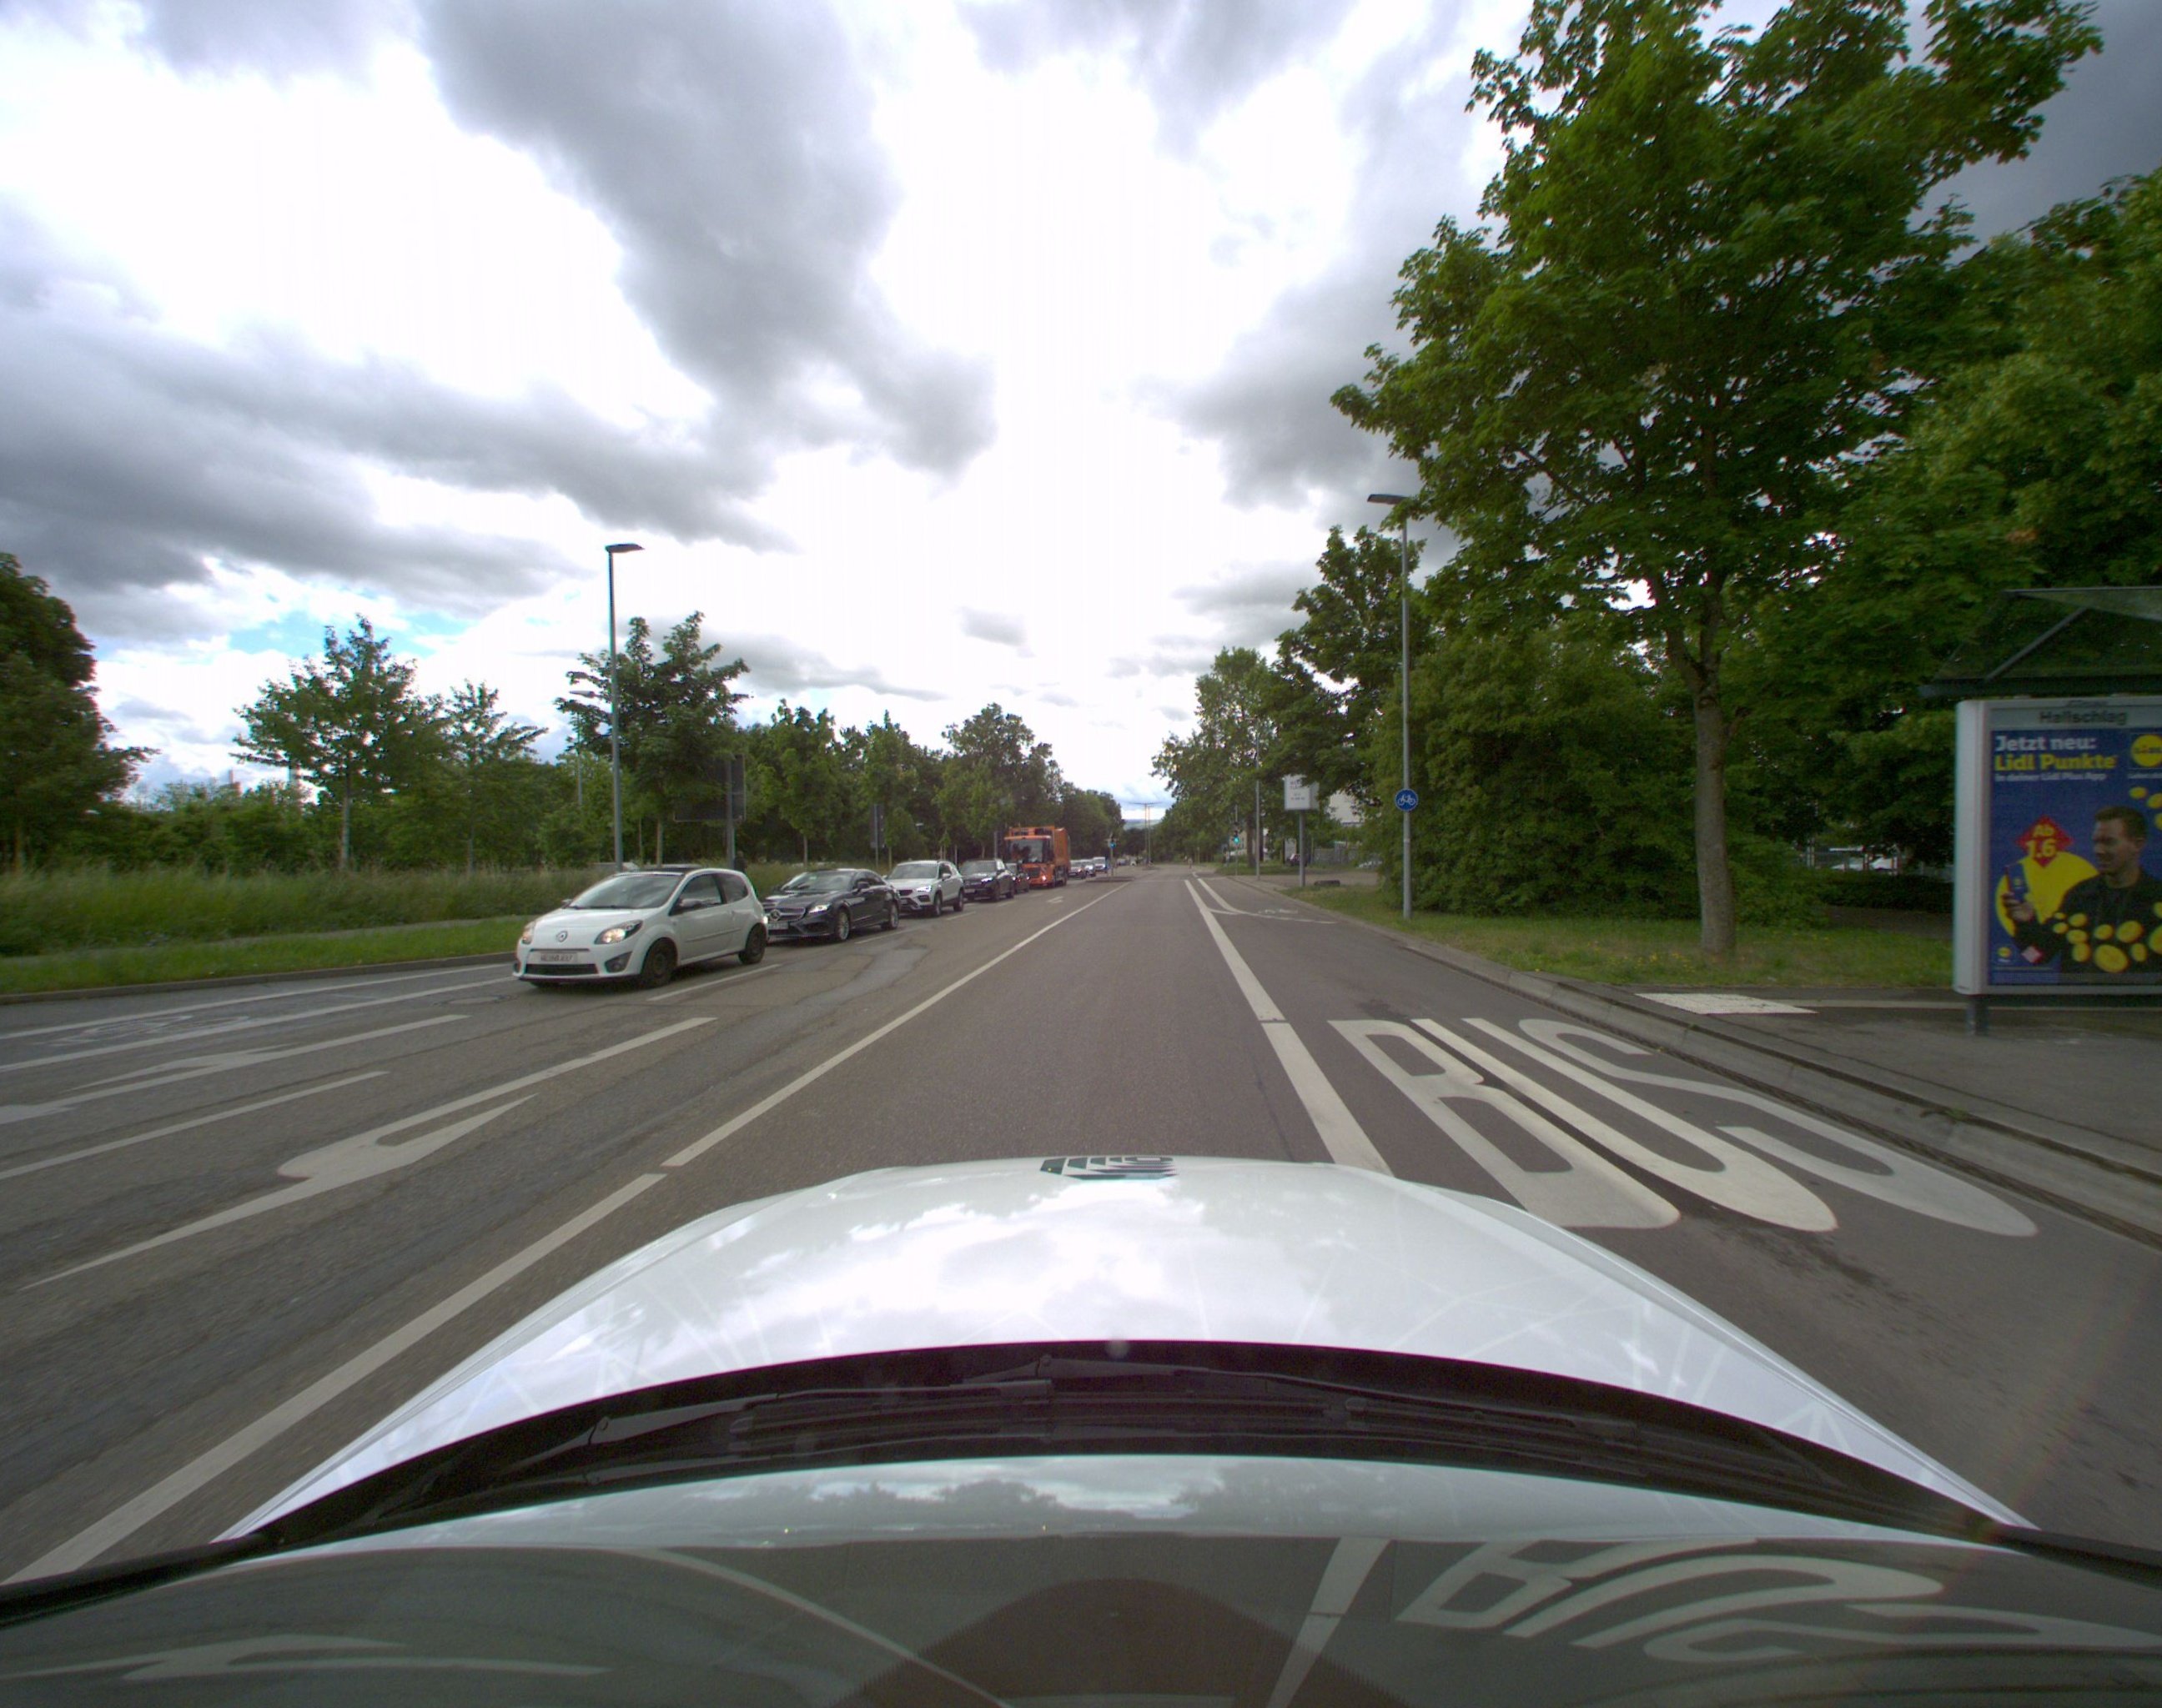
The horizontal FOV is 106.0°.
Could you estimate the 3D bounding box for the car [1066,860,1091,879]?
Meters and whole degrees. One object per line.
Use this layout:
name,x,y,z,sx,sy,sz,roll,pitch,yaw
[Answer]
car,-0.171,1.218,64.184,1.540,1.331,3.659,-3,-1,5

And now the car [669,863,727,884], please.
car,-39.321,1.979,83.618,4.945,2.014,2.002,-2,-1,3

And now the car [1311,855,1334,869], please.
car,26.647,0.893,89.993,1.701,1.508,4.352,1,0,7

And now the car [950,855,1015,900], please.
car,-3.733,0.853,31.560,1.631,1.585,4.067,-1,0,6

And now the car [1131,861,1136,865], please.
car,16.505,2.838,255.324,1.604,1.305,4.006,-1,-1,6

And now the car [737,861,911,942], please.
car,-5.095,0.875,16.940,1.631,1.390,4.893,-1,0,6

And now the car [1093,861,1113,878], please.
car,2.462,1.713,90.385,1.837,1.803,4.656,-3,-1,5

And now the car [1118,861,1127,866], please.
car,10.138,2.360,198.436,1.763,1.305,4.006,-1,-1,6

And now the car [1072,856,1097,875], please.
car,0.347,1.003,72.388,1.837,1.520,4.822,-3,-1,5

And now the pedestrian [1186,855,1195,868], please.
pedestrian,12.712,0.910,94.525,0.789,1.463,0.745,-1,-1,-13

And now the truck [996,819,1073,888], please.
truck,-2.406,-0.035,46.512,2.692,3.487,10.012,-1,0,6

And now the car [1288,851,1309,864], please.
car,24.017,0.381,90.001,1.701,1.354,4.352,-1,-1,7

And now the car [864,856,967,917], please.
car,-4.667,0.871,23.639,1.722,1.585,4.230,-1,0,6

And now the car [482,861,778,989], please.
car,-5.814,0.824,11.088,1.631,1.390,3.768,-1,0,6

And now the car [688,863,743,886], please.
car,-38.979,2.176,86.933,4.948,2.190,2.001,-2,-1,1

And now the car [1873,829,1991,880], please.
car,47.963,0.105,46.064,1.986,2.326,4.428,9,-3,3

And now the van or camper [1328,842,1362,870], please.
van or camper,29.374,0.240,90.776,1.956,2.868,6.927,-1,-1,4

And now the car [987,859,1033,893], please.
car,-3.294,0.996,38.202,1.427,1.457,3.901,-1,0,6
